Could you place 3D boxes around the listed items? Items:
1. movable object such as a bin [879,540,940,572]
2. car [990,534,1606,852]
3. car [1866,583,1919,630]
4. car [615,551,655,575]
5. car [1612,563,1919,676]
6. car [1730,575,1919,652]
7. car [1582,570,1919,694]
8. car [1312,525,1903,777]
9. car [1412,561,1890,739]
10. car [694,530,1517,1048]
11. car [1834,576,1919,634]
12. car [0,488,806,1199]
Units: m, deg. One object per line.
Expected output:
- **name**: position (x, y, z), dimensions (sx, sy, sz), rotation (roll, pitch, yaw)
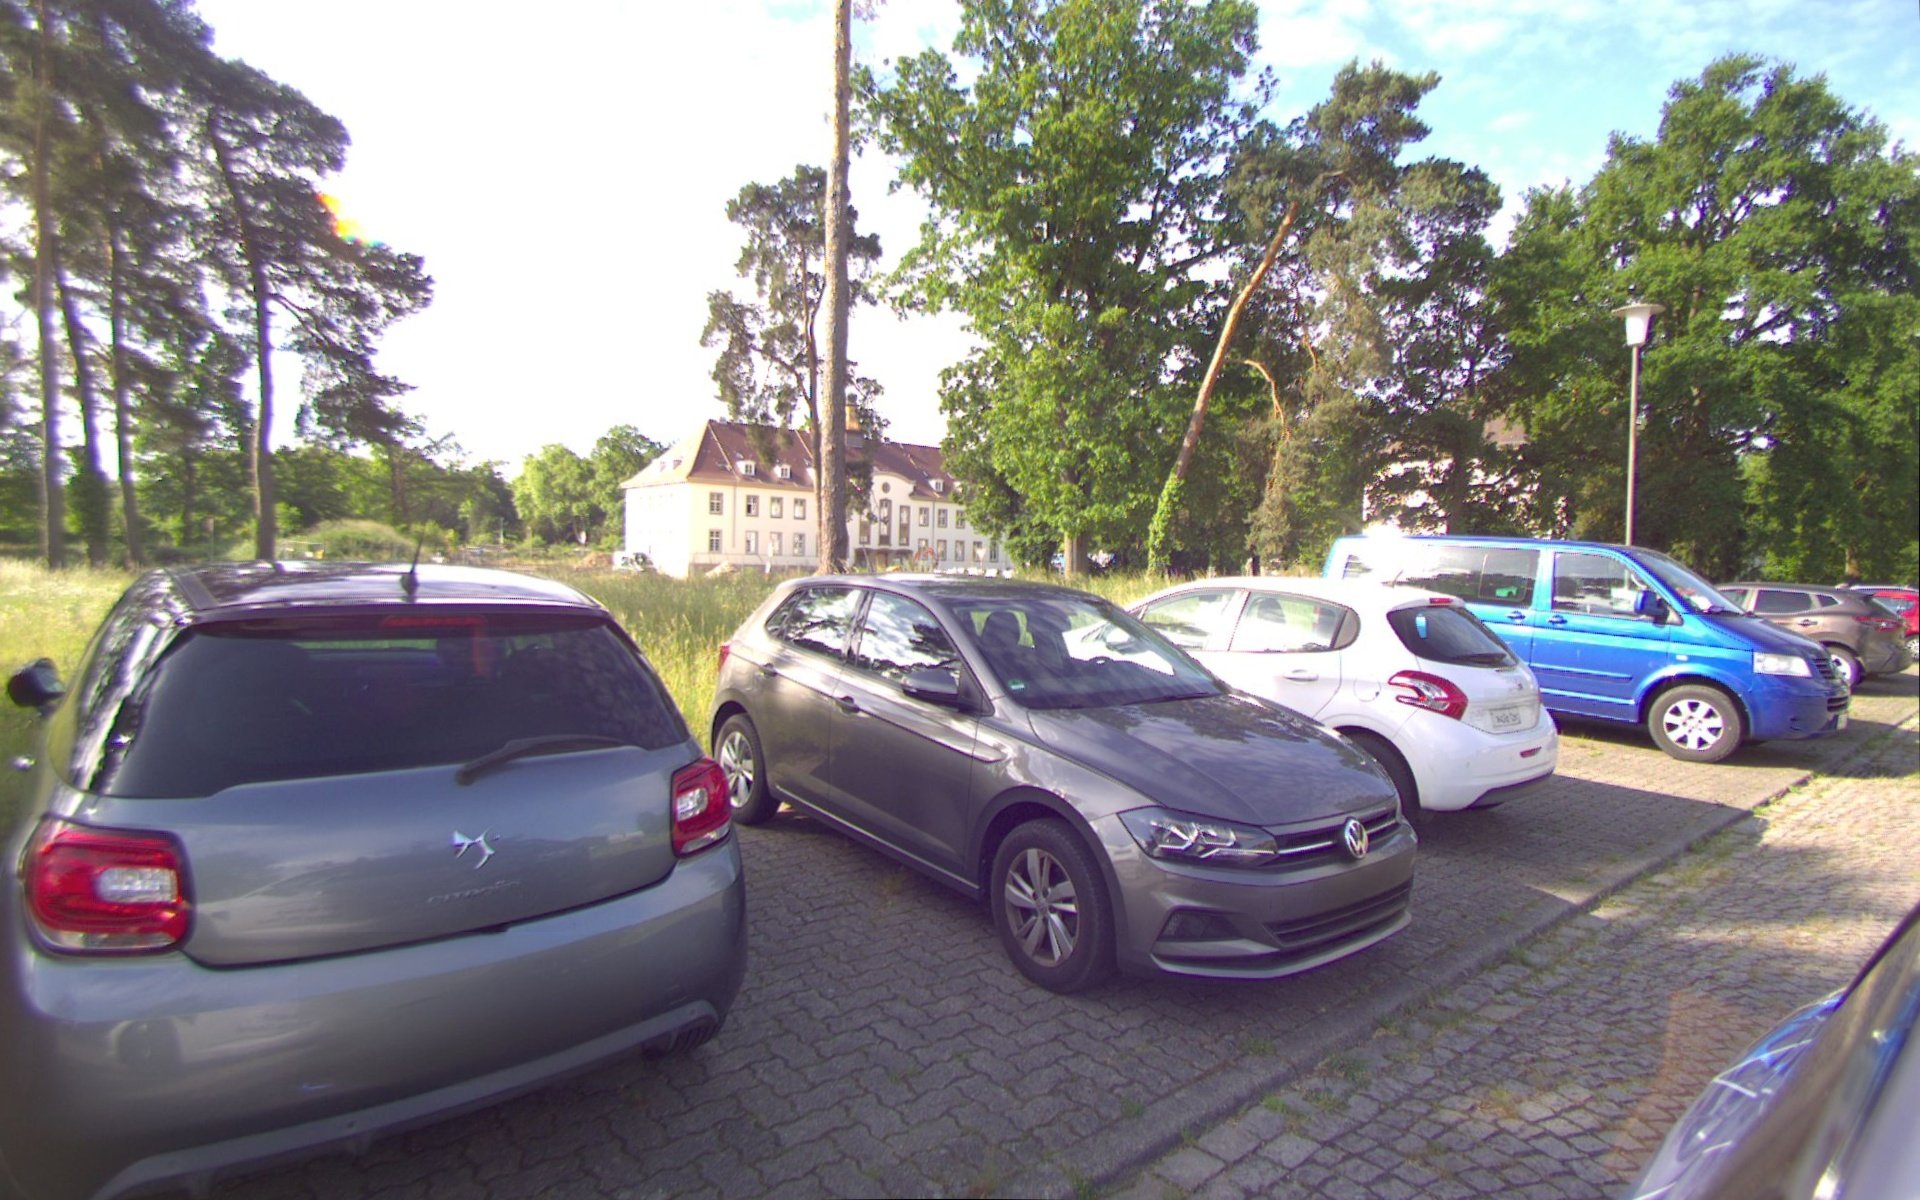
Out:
- **movable object such as a bin**: position (-5.509, -4.830, 111.919), dimensions (6.338, 3.342, 2.862), rotation (-1, 1, 7)
- **car**: position (2.103, 0.382, 7.128), dimensions (1.729, 1.553, 3.717), rotation (0, 4, -39)
- **car**: position (31.830, 0.308, 32.290), dimensions (1.754, 1.440, 4.096), rotation (0, 4, -41)
- **car**: position (-31.096, -3.500, 96.819), dimensions (1.967, 2.240, 4.423), rotation (-1, 1, -43)
- **car**: position (14.558, 0.245, 18.335), dimensions (1.902, 1.617, 4.233), rotation (-1, 5, -42)
- **car**: position (20.360, 0.284, 23.098), dimensions (1.821, 1.477, 4.096), rotation (0, 4, -41)
- **car**: position (12.749, 0.383, 16.328), dimensions (1.902, 1.617, 4.232), rotation (-1, 4, -42)
- **car**: position (6.346, 0.265, 10.464), dimensions (1.965, 1.958, 4.710), rotation (0, 4, -40)
- **car**: position (8.151, 0.427, 12.317), dimensions (1.905, 1.596, 4.408), rotation (0, 4, -40)
- **car**: position (0.354, 0.460, 4.977), dimensions (1.823, 1.466, 3.717), rotation (0, 4, -39)
- **car**: position (28.263, 0.209, 29.384), dimensions (1.821, 1.576, 4.096), rotation (0, 4, -41)
- **car**: position (-2.335, 0.401, 3.813), dimensions (1.784, 1.466, 3.717), rotation (0, 4, -40)
